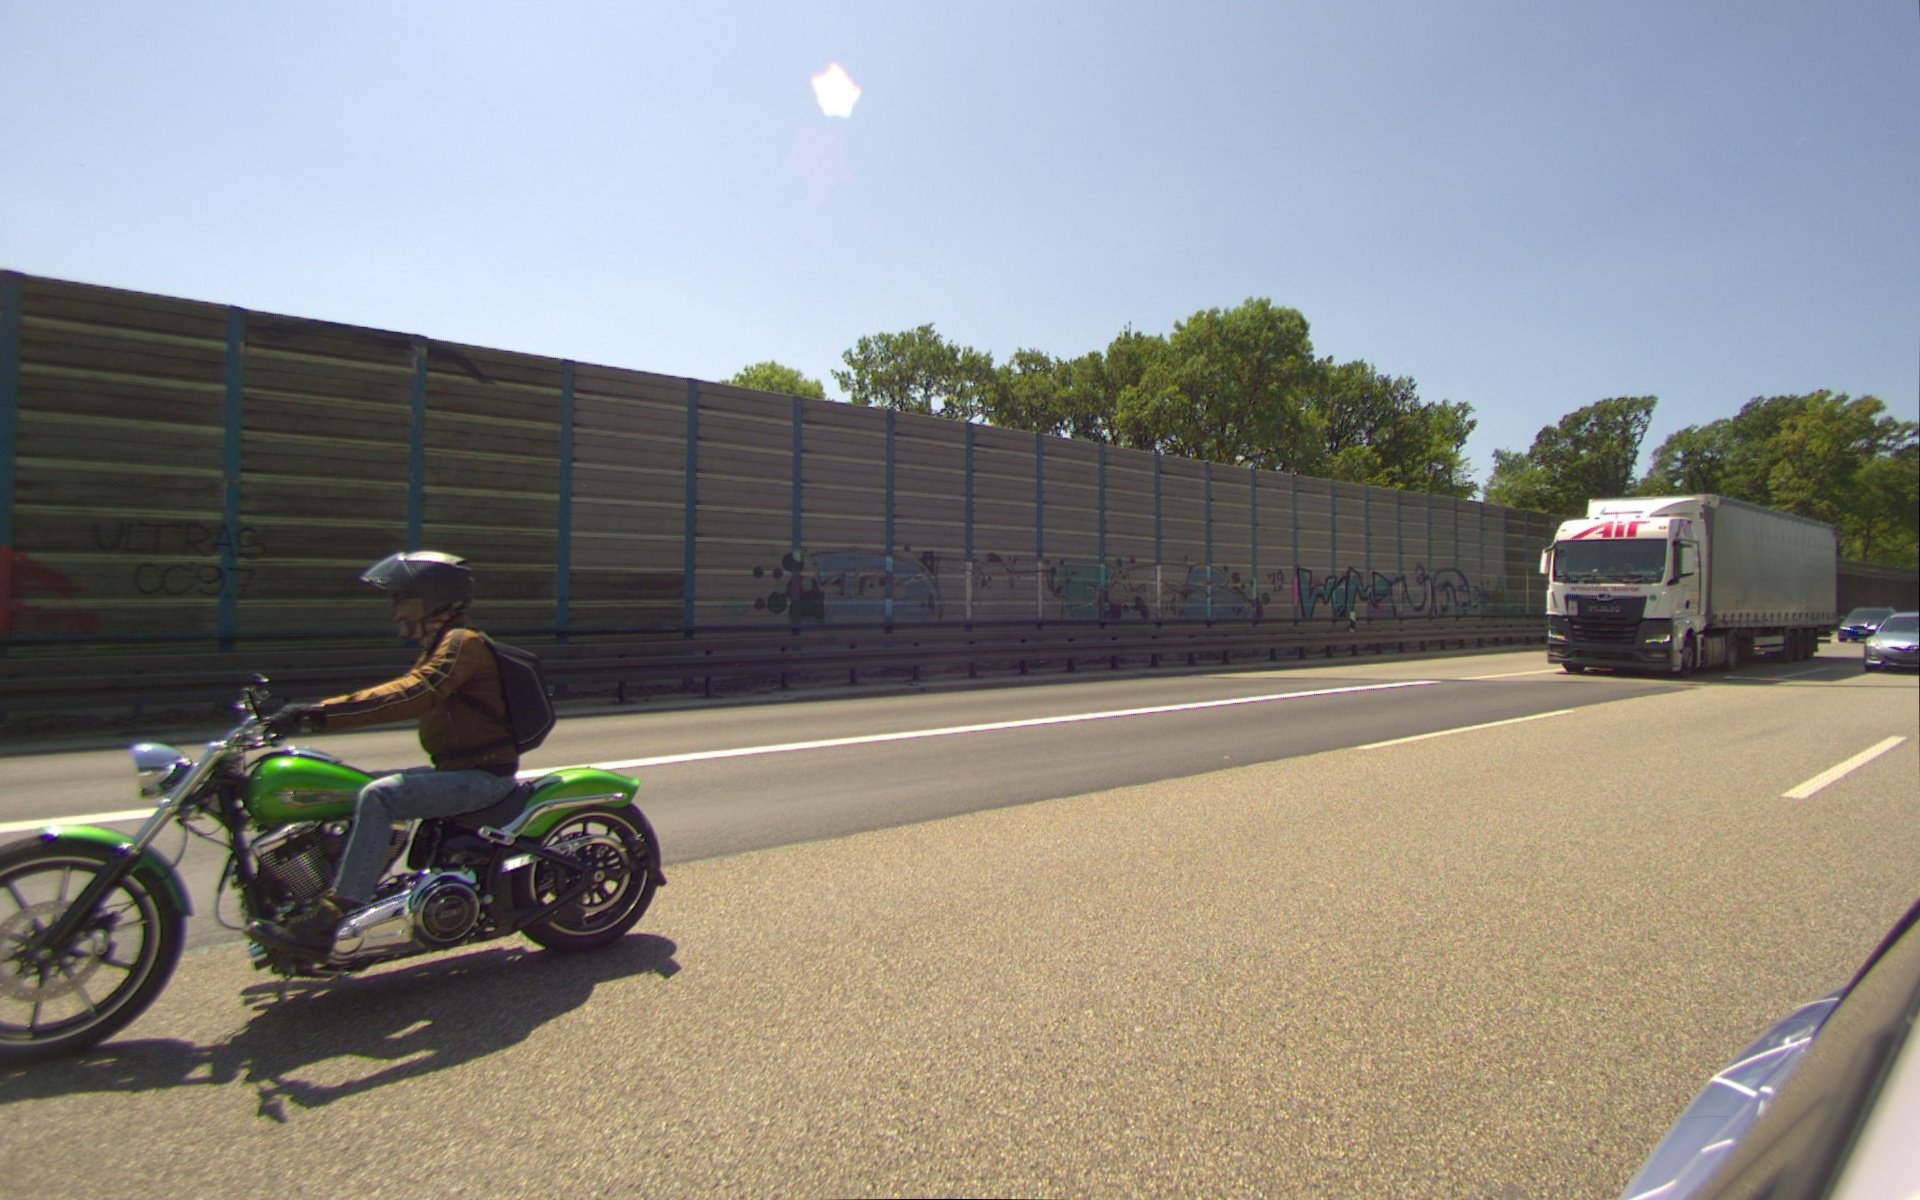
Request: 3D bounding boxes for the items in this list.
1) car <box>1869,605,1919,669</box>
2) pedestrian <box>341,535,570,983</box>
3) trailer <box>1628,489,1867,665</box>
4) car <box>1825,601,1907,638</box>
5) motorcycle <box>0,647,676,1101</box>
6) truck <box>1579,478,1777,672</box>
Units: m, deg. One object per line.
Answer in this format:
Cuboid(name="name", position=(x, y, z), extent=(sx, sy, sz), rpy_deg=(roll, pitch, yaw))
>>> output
Cuboid(name="car", position=(23.658, 0.871, 24.390), extent=(4.098, 1.452, 1.861), rpy_deg=(1, -1, -37))
Cuboid(name="pedestrian", position=(-1.974, 0.533, 3.927), extent=(0.626, 1.497, 0.854), rpy_deg=(1, -1, -38))
Cuboid(name="trailer", position=(23.020, -0.558, 29.096), extent=(13.348, 4.142, 2.604), rpy_deg=(0, 0, -40))
Cuboid(name="car", position=(38.575, 0.802, 43.060), extent=(4.098, 1.512, 1.861), rpy_deg=(1, -1, -37))
Cuboid(name="motorcycle", position=(-2.281, 0.805, 3.684), extent=(2.234, 1.197, 0.862), rpy_deg=(1, -1, -38))
Cuboid(name="truck", position=(17.405, -0.554, 24.431), extent=(5.453, 4.142, 2.604), rpy_deg=(0, 0, -40))
